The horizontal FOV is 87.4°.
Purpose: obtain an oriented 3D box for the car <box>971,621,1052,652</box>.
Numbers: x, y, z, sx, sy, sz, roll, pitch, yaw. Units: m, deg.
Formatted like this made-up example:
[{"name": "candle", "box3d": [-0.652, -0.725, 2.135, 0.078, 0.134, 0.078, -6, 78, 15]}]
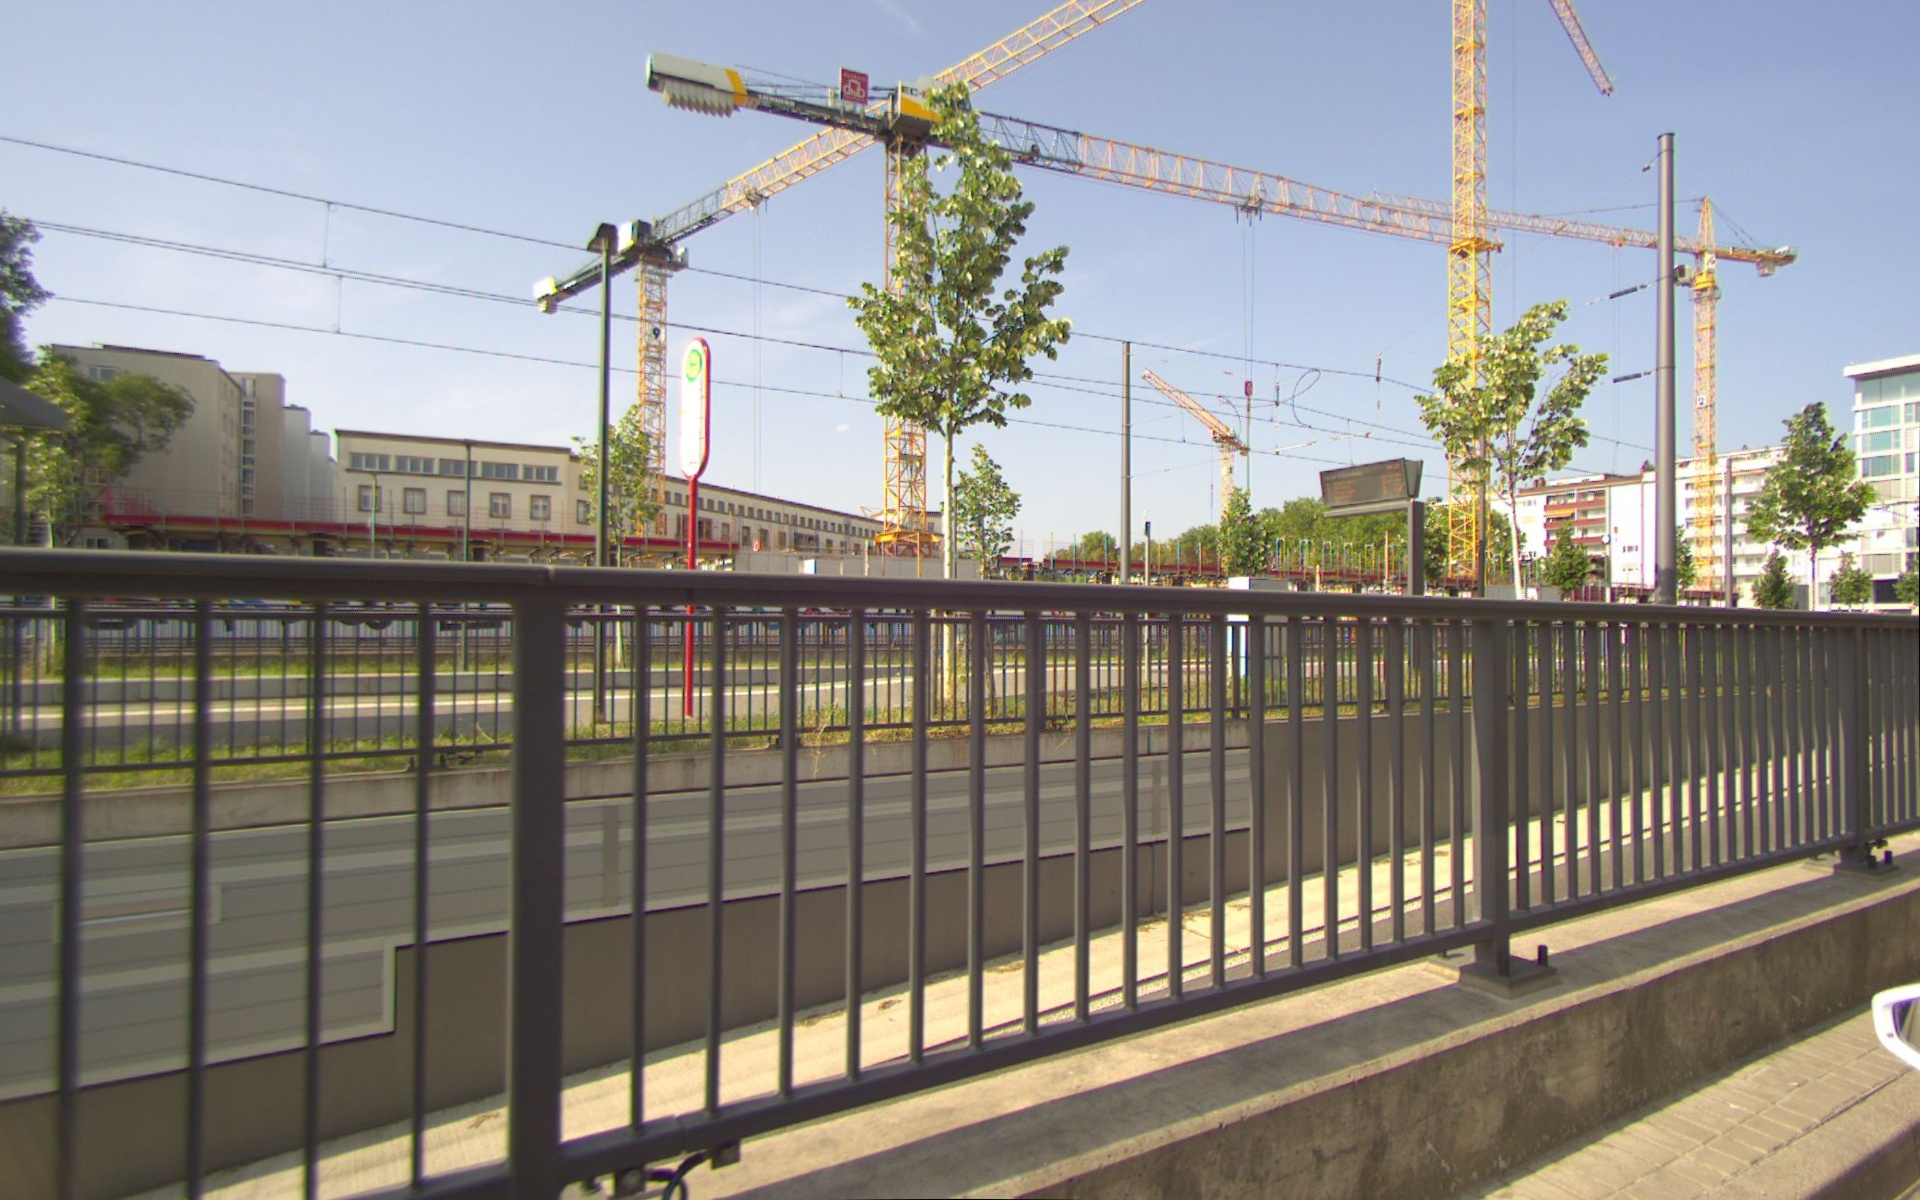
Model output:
[{"name": "car", "box3d": [2.073, 1.466, 40.542, 2.926, 1.218, 1.493, 1, -1, -31]}]
